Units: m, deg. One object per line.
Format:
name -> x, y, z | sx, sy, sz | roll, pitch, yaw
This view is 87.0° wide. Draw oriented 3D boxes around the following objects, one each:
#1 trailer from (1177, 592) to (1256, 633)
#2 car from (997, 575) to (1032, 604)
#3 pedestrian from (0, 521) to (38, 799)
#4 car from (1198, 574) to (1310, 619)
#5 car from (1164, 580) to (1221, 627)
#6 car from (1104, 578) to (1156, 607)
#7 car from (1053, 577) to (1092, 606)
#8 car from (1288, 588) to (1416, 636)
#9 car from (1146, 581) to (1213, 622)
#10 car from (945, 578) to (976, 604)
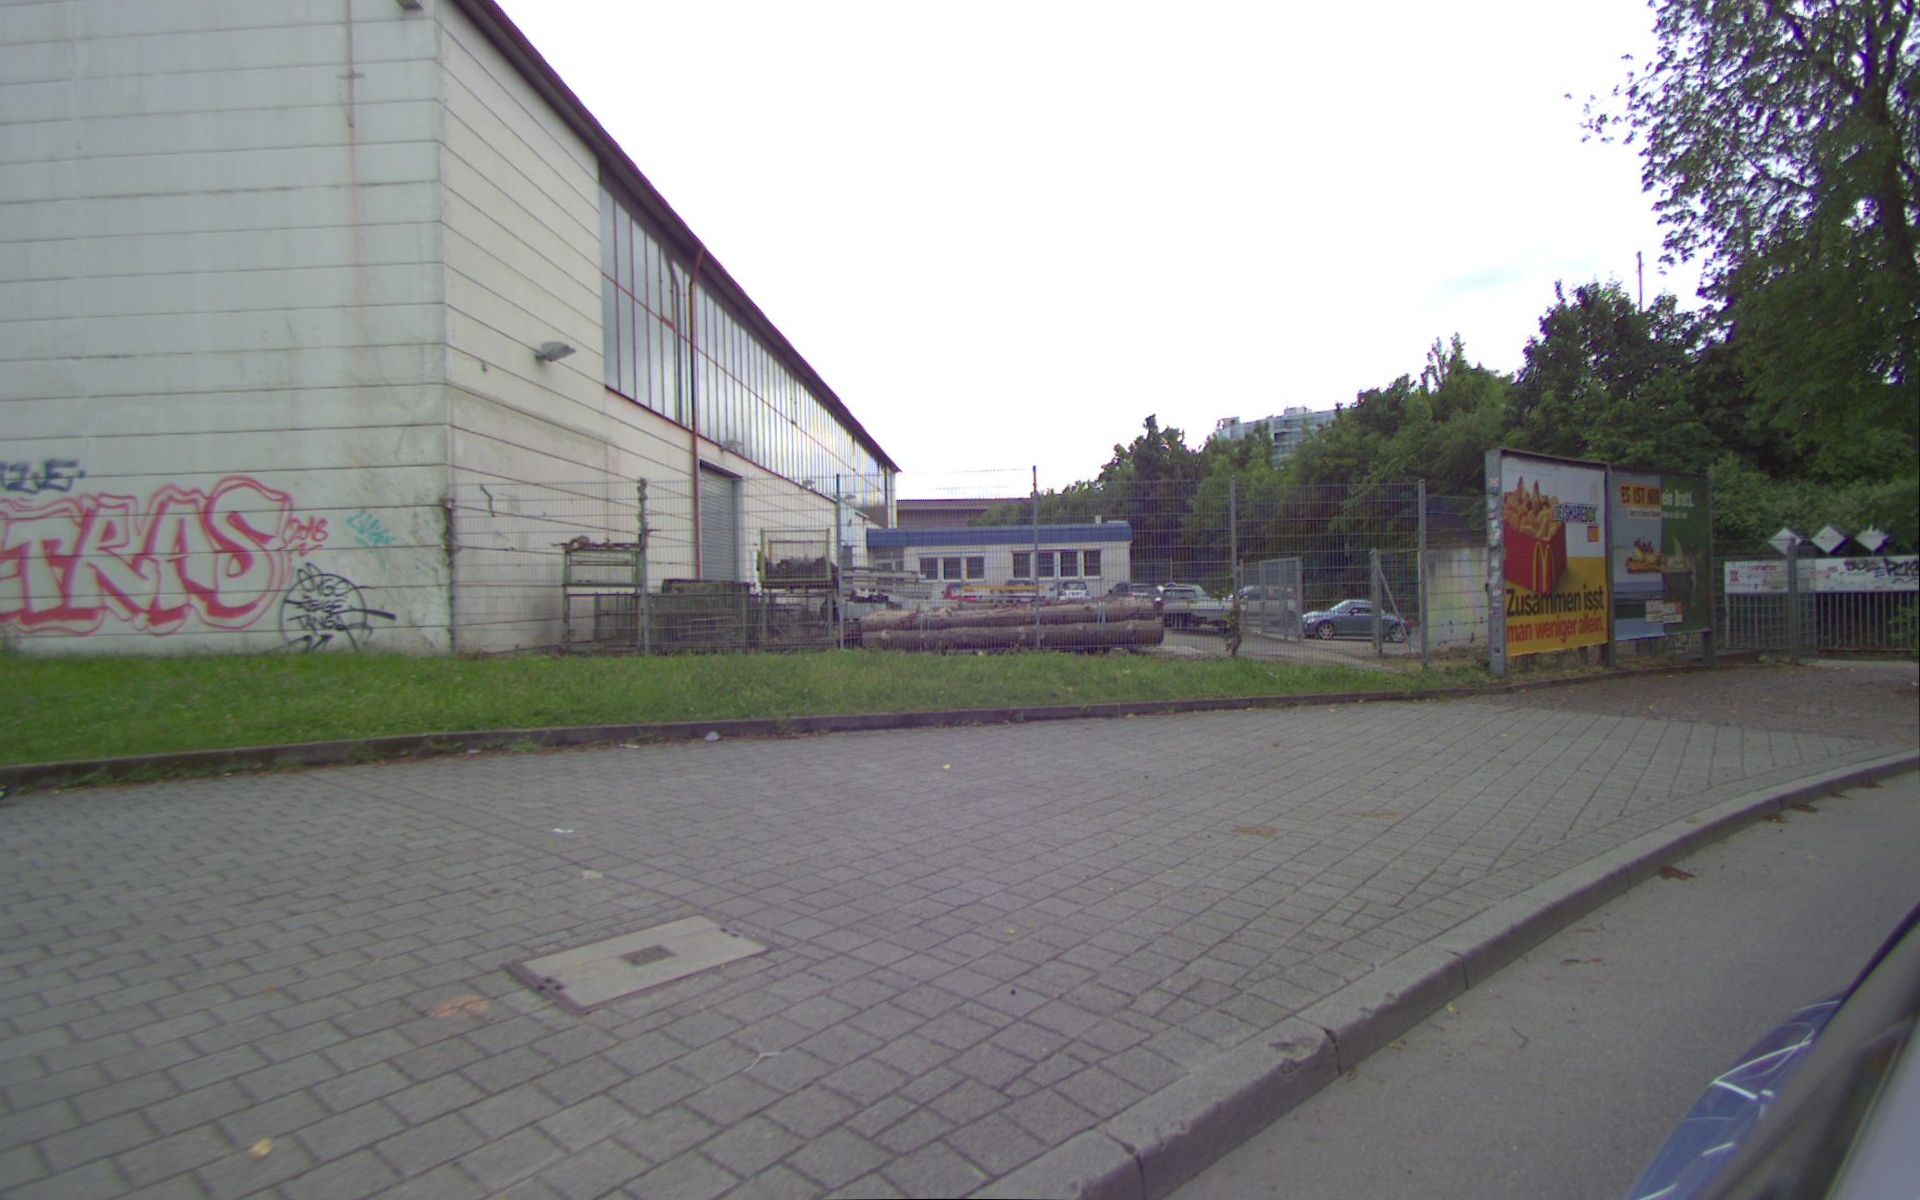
trailer -> 7.741, 0.353, 30.722 | 1.815, 1.152, 2.637 | 0, 1, 3
car -> 2.612, -0.506, 49.123 | 1.311, 1.348, 3.314 | 1, 1, -3
pedestrian -> -6.315, 0.385, 5.988 | 0.920, 1.704, 0.853 | -2, 2, -15
car -> 11.199, -0.148, 38.652 | 3.738, 1.550, 1.566 | 2, 2, -1
car -> 7.645, 0.098, 33.433 | 1.347, 1.458, 2.852 | 1, 1, 3
car -> 8.172, -0.377, 48.848 | 1.499, 1.348, 3.688 | 1, 1, -6
car -> 5.362, -0.421, 48.638 | 1.311, 1.348, 3.314 | 1, 1, -3
car -> 12.016, 0.360, 31.138 | 3.305, 1.267, 1.472 | 2, 2, -1
car -> 7.908, 0.013, 36.693 | 1.774, 1.394, 3.795 | -1, 1, 3
car -> -0.016, -0.456, 49.273 | 1.311, 1.223, 3.314 | 1, 1, -3
